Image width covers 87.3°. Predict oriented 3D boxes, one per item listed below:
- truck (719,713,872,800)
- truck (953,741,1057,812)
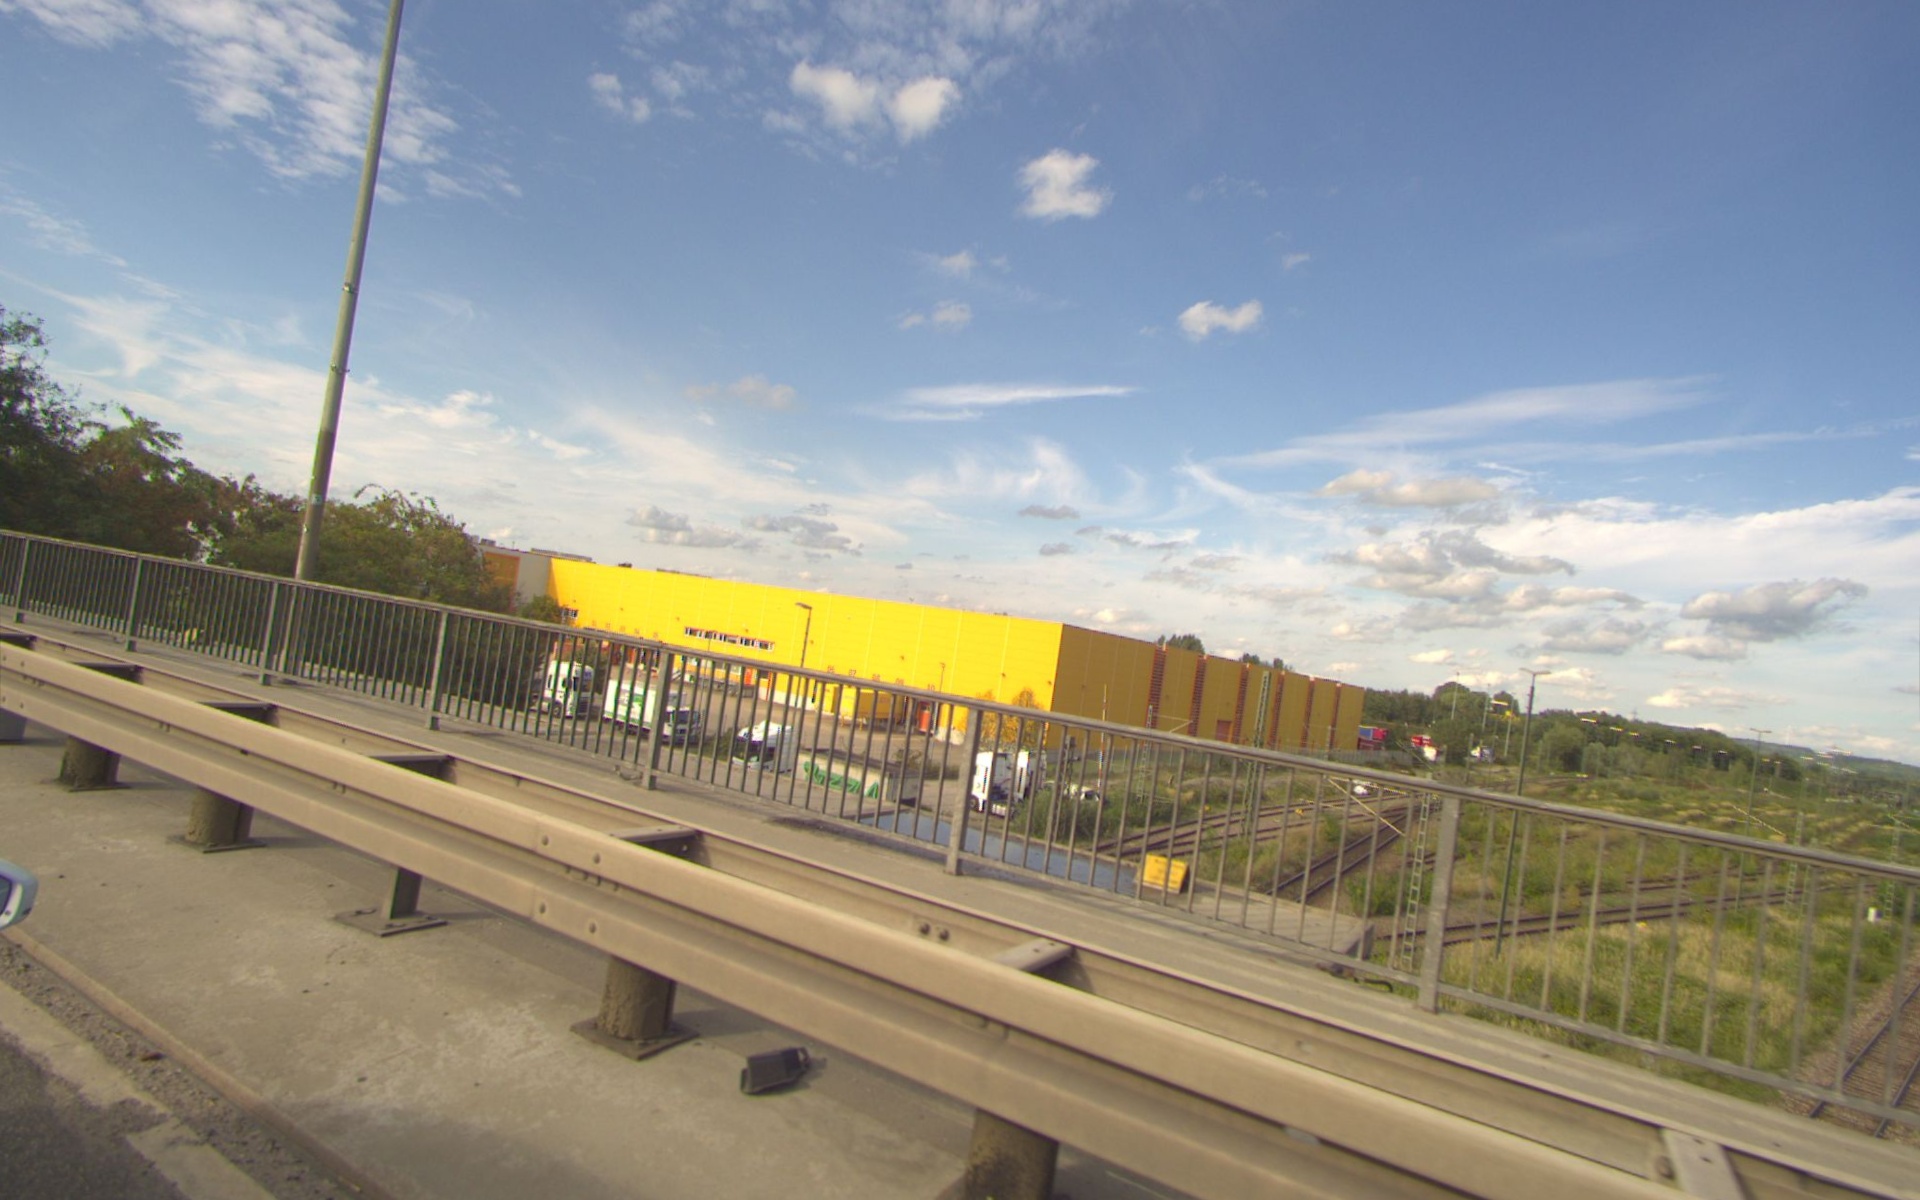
[{"bbox_3d":[-9.123,8.668,56.856,2.626,4.141,8.588,9,1,38],"label":"truck"},{"bbox_3d":[3.005,11.240,64.788,2.626,3.662,7.206,9,1,38],"label":"truck"}]
